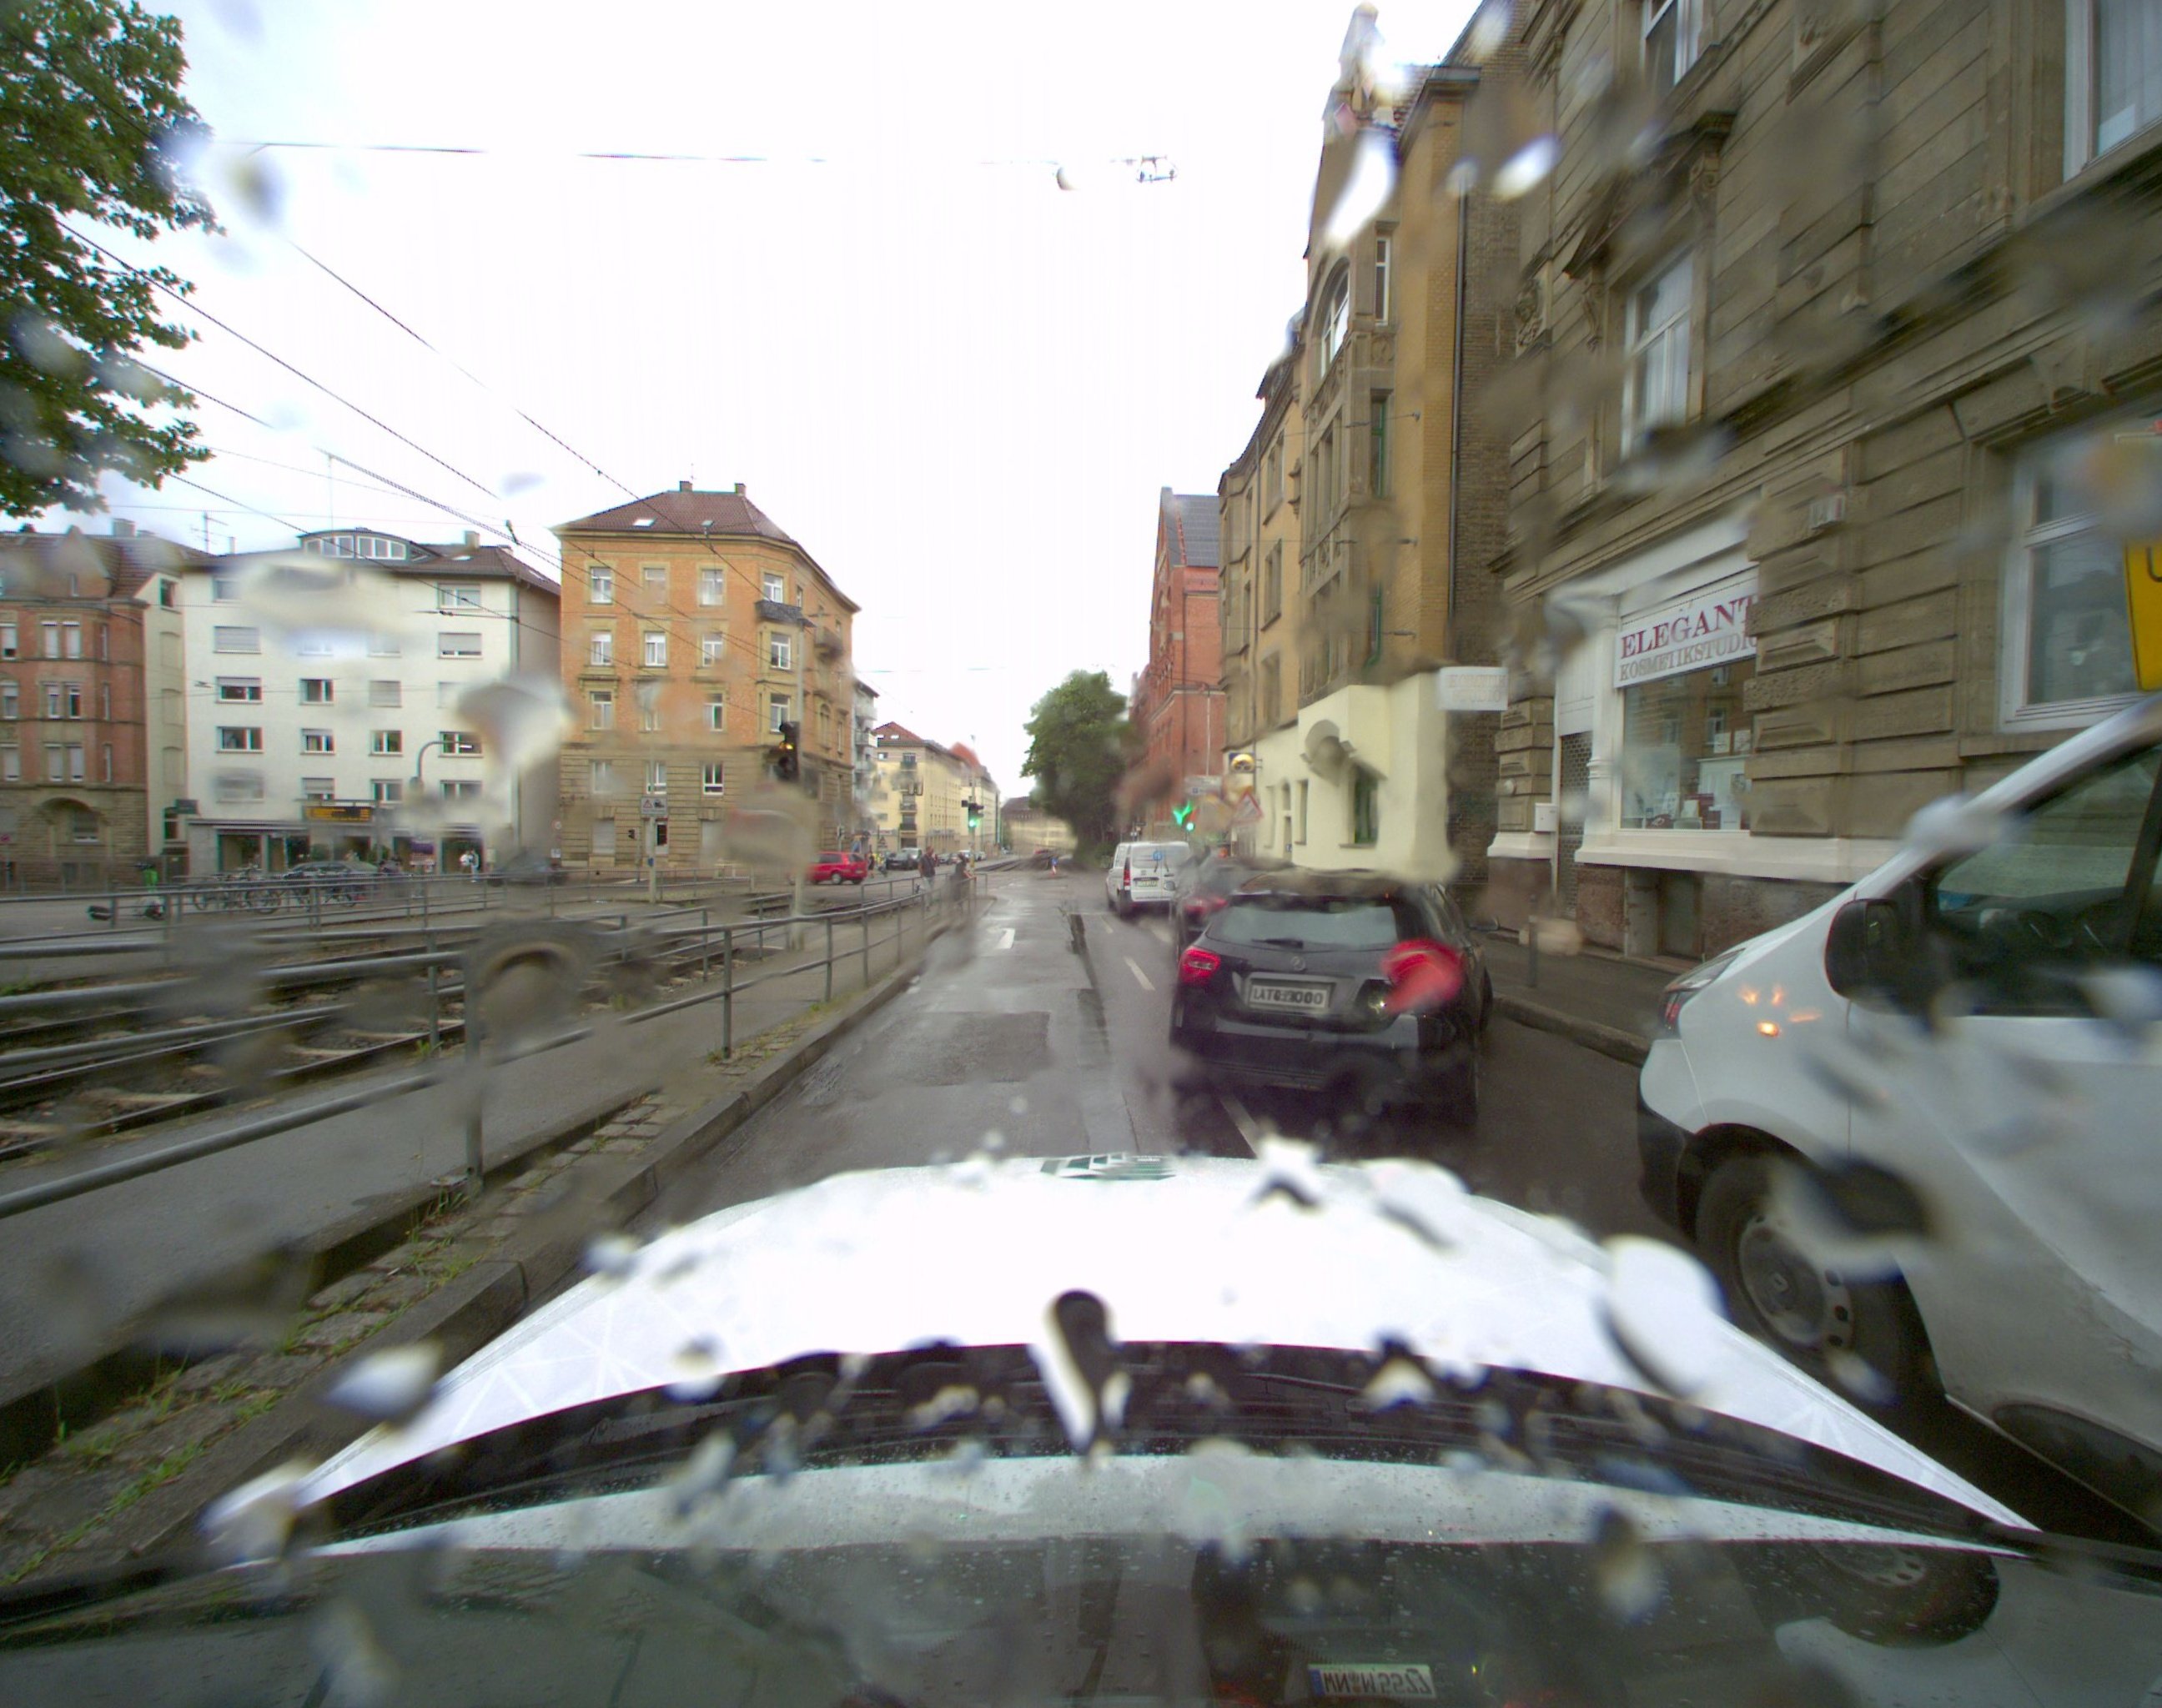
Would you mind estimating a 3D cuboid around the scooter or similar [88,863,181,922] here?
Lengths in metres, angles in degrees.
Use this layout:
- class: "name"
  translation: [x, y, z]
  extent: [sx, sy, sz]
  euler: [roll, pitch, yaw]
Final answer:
- class: "scooter or similar"
  translation: [-19.999, 0.799, 17.226]
  extent: [0.295, 1.195, 1.259]
  euler: [0, 0, 38]

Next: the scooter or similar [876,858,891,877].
- class: "scooter or similar"
  translation: [-12.452, 0.853, 51.341]
  extent: [0.931, 1.163, 0.334]
  euler: [-1, 0, -17]

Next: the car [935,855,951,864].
- class: "car"
  translation: [-16.277, 0.631, 96.110]
  extent: [1.433, 1.106, 3.160]
  euler: [0, 0, -1]

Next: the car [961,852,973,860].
- class: "car"
  translation: [-16.934, 0.332, 120.647]
  extent: [1.391, 1.171, 3.160]
  euler: [0, 0, -1]

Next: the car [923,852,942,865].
- class: "car"
  translation: [-15.915, 0.460, 87.644]
  extent: [1.495, 1.356, 3.160]
  euler: [0, 0, -1]

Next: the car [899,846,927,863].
- class: "car"
  translation: [-15.843, 0.065, 77.049]
  extent: [1.781, 1.530, 4.460]
  euler: [0, 0, -1]

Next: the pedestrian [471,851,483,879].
- class: "pedestrian"
  translation: [-34.157, 0.614, 46.057]
  extent: [0.520, 1.622, 0.480]
  euler: [0, 0, -41]

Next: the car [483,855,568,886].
- class: "car"
  translation: [-27.665, 0.823, 40.635]
  extent: [3.149, 1.489, 1.421]
  euler: [1, 0, -8]

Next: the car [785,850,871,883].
- class: "car"
  translation: [-11.948, 0.576, 38.535]
  extent: [3.571, 1.489, 1.693]
  euler: [0, 0, 19]

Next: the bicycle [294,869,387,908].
- class: "bicycle"
  translation: [-20.452, 0.944, 22.531]
  extent: [1.872, 1.065, 0.515]
  euler: [0, 0, -13]

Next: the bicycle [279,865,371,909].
- class: "bicycle"
  translation: [-20.206, 0.881, 21.803]
  extent: [1.768, 1.142, 0.515]
  euler: [0, 0, -13]

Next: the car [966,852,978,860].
- class: "car"
  translation: [-16.949, 0.318, 126.948]
  extent: [1.391, 1.171, 3.160]
  euler: [0, 0, -1]

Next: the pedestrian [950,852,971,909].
- class: "pedestrian"
  translation: [-3.262, 0.718, 22.028]
  extent: [0.531, 1.530, 0.435]
  euler: [0, 0, -9]

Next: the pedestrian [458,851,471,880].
- class: "pedestrian"
  translation: [-34.654, 0.621, 45.781]
  extent: [0.520, 1.622, 0.480]
  euler: [0, 0, -41]

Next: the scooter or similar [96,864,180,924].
- class: "scooter or similar"
  translation: [-19.528, 0.808, 16.883]
  extent: [0.357, 1.195, 1.119]
  euler: [0, 0, 38]

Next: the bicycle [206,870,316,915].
- class: "bicycle"
  translation: [-19.900, 0.930, 19.789]
  extent: [1.872, 1.061, 0.515]
  euler: [0, 0, -13]

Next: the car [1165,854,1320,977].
- class: "car"
  translation: [2.162, 0.738, 11.924]
  extent: [1.705, 1.469, 4.285]
  euler: [0, 0, 4]

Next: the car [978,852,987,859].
- class: "car"
  translation: [-17.462, 0.291, 144.394]
  extent: [1.391, 1.171, 3.160]
  euler: [0, 0, -1]

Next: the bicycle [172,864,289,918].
- class: "bicycle"
  translation: [-19.599, 0.842, 18.801]
  extent: [1.872, 1.195, 0.515]
  euler: [0, 0, -13]

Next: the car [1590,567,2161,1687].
- class: "car"
  translation: [2.826, 0.472, 0.662]
  extent: [1.915, 1.936, 4.684]
  euler: [0, 0, 0]

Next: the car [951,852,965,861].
- class: "car"
  translation: [-16.532, 0.315, 109.511]
  extent: [1.391, 1.171, 3.160]
  euler: [0, 0, -1]

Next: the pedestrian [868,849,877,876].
- class: "pedestrian"
  translation: [-13.134, 0.548, 51.328]
  extent: [0.519, 1.666, 0.474]
  euler: [0, 0, -17]

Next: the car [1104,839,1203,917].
- class: "car"
  translation: [1.775, 0.568, 21.334]
  extent: [1.929, 1.831, 4.275]
  euler: [0, 0, -4]

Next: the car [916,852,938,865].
- class: "car"
  translation: [-15.801, 0.449, 83.695]
  extent: [1.675, 1.356, 3.701]
  euler: [0, 0, -1]

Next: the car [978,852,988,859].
- class: "car"
  translation: [-17.870, 0.237, 148.872]
  extent: [1.391, 1.171, 3.160]
  euler: [0, 0, -1]

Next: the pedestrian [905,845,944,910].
- class: "pedestrian"
  translation: [-4.243, 0.620, 22.085]
  extent: [0.745, 1.724, 0.732]
  euler: [1, 0, -45]

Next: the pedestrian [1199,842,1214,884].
- class: "pedestrian"
  translation: [3.836, 0.272, 24.875]
  extent: [0.411, 1.271, 0.292]
  euler: [0, 0, 4]

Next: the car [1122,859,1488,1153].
- class: "car"
  translation: [2.002, 0.750, 6.160]
  extent: [1.877, 1.390, 4.024]
  euler: [0, 0, 27]

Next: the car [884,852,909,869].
- class: "car"
  translation: [-15.930, 0.544, 70.441]
  extent: [1.448, 1.318, 3.292]
  euler: [1, 0, -2]
